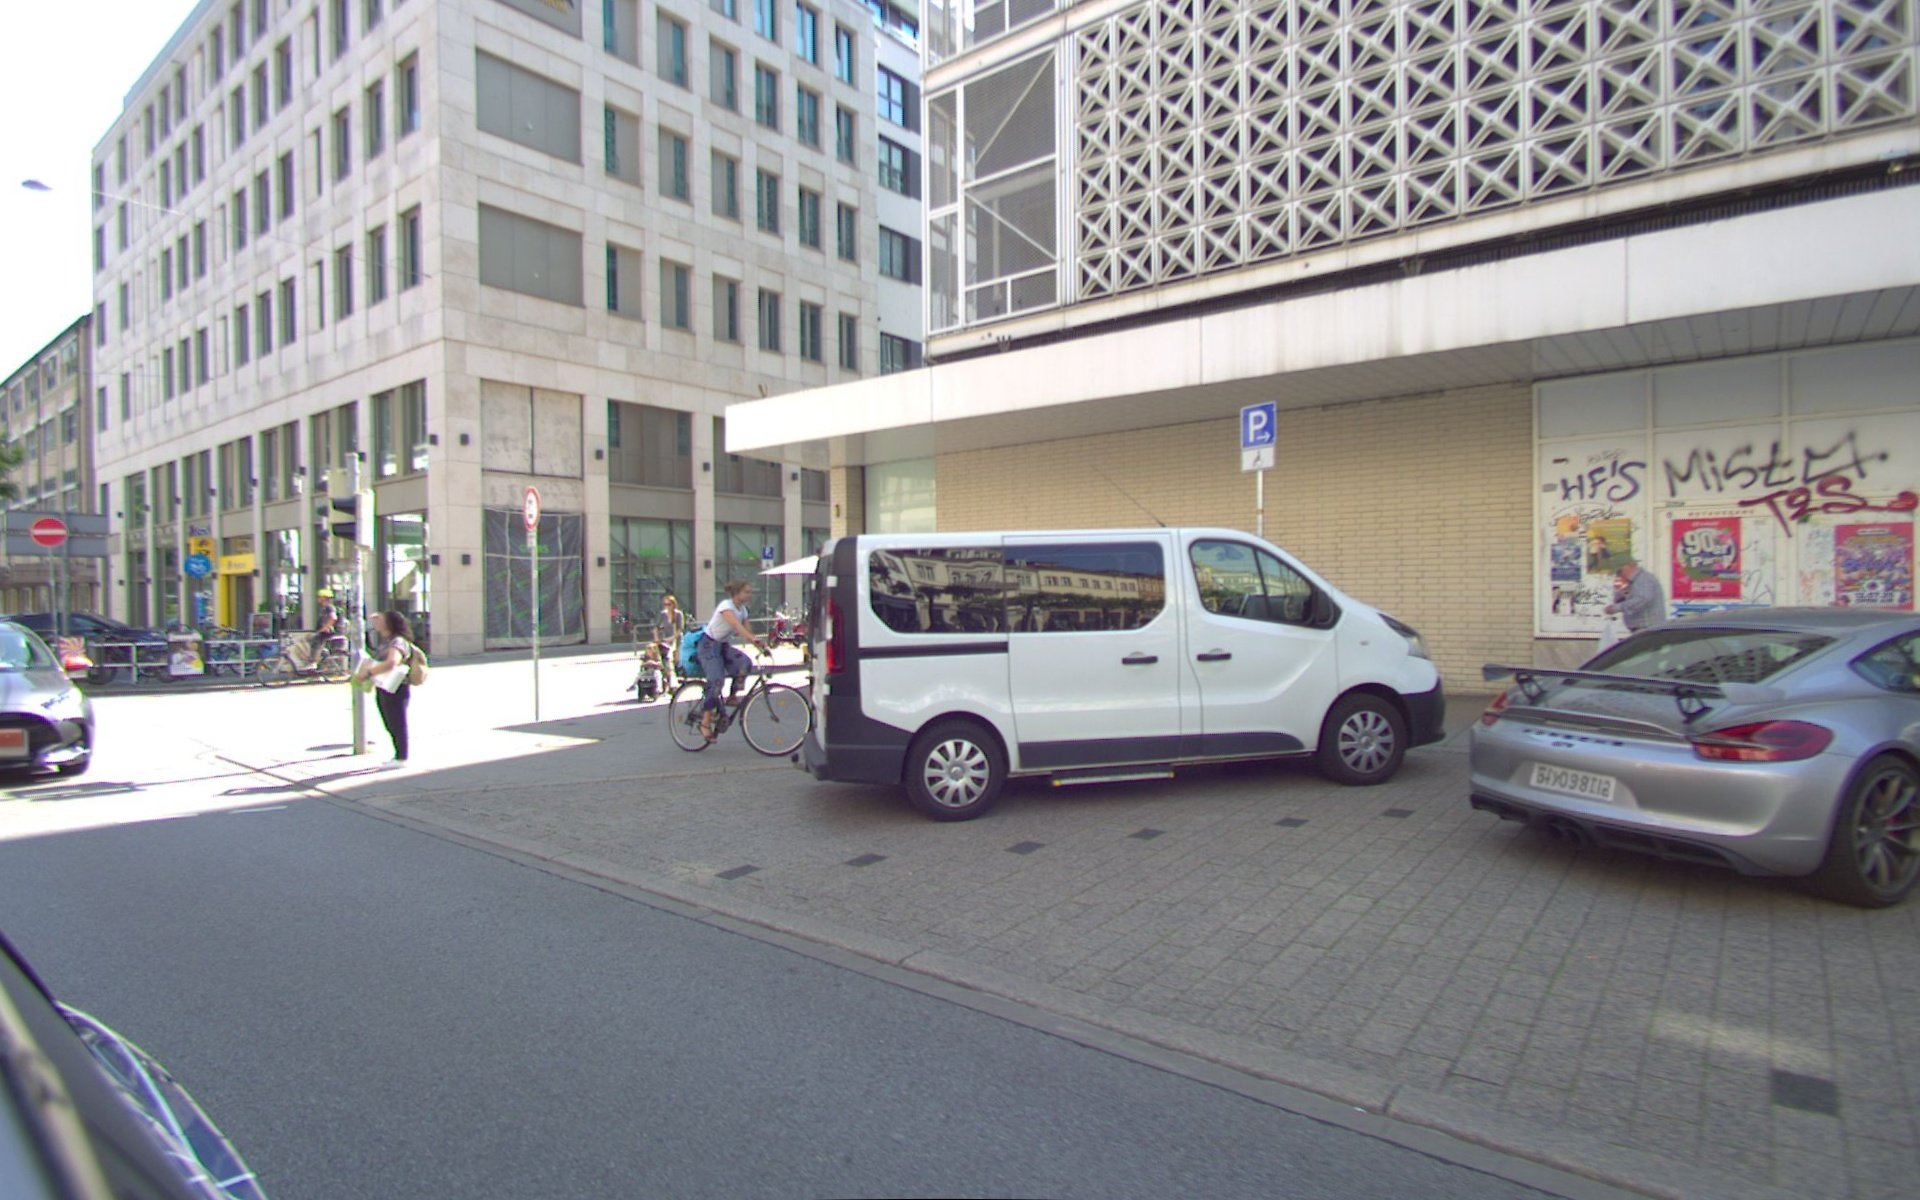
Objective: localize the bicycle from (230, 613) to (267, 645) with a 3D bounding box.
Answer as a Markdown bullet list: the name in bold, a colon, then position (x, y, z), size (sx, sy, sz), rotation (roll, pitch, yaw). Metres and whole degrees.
- **bicycle**: position (-26.237, 1.080, 37.312), size (2.159, 1.115, 0.491), rotation (-1, 2, 39)

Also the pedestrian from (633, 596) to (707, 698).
- **pedestrian**: position (-4.911, 0.780, 17.179), size (0.835, 1.671, 0.839), rotation (-2, 0, 20)

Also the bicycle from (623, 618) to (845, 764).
- **bicycle**: position (-2.238, 0.851, 9.912), size (2.204, 1.277, 0.728), rotation (-2, 0, 31)

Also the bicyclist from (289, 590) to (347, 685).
- **bicyclist**: position (-13.785, 0.789, 21.728), size (1.017, 1.974, 0.832), rotation (-1, 0, 45)

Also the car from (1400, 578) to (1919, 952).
- **car**: position (4.847, 0.603, 5.534), size (4.225, 1.296, 1.977), rotation (-3, 1, -20)

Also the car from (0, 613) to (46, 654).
- **car**: position (-40.476, 1.473, 41.616), size (1.818, 1.539, 3.950), rotation (1, 4, 38)

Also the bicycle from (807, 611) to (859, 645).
- **bicycle**: position (-4.370, 0.954, 35.039), size (0.454, 1.135, 2.038), rotation (-2, -1, 38)

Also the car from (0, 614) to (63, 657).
- **car**: position (-38.286, 1.528, 39.563), size (4.427, 1.443, 1.868), rotation (-7, 4, -31)

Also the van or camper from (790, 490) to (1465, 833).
- **van or camper**: position (1.108, 0.334, 7.749), size (4.584, 2.028, 2.005), rotation (-3, 1, -11)

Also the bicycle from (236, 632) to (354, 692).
- **bicycle**: position (-14.094, 1.287, 21.491), size (1.964, 1.135, 0.800), rotation (-1, -1, -44)

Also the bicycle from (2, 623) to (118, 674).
- **bicycle**: position (-22.809, 1.209, 25.679), size (0.484, 1.135, 2.119), rotation (-3, 1, 40)

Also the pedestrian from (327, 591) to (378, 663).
- **pedestrian**: position (-16.727, 0.722, 27.872), size (0.844, 1.892, 0.830), rotation (-1, 4, 39)

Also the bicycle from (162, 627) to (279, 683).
- **bicycle**: position (-16.419, 1.215, 22.505), size (2.030, 1.178, 0.607), rotation (0, 0, -14)

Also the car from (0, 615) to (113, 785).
- **car**: position (-10.073, 0.947, 10.103), size (4.104, 1.489, 1.844), rotation (-3, -3, 41)

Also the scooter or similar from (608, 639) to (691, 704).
- **scooter or similar**: position (-5.025, 1.145, 16.431), size (0.895, 0.972, 0.967), rotation (-1, 1, 18)

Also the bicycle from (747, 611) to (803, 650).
- **bicycle**: position (-6.021, 0.978, 33.006), size (0.454, 1.135, 2.039), rotation (2, 3, 37)

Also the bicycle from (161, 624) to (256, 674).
- **bicycle**: position (-19.236, 1.236, 25.944), size (1.835, 1.135, 0.486), rotation (-3, 0, -27)

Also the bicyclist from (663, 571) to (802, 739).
- **bicyclist**: position (-2.224, 0.515, 9.900), size (1.073, 1.550, 0.728), rotation (-2, 0, 31)

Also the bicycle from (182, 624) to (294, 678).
- **bicycle**: position (-16.901, 1.180, 23.731), size (2.029, 1.135, 0.649), rotation (-2, 0, -25)

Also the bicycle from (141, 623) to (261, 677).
- **bicycle**: position (-18.891, 1.227, 25.247), size (2.289, 1.135, 0.564), rotation (-3, 1, -26)

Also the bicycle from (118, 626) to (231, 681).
- **bicycle**: position (-18.885, 1.269, 24.383), size (2.029, 1.135, 0.564), rotation (-3, 0, -26)

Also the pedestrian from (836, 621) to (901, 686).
- **pedestrian**: position (-1.648, 0.949, 18.234), size (0.840, 1.065, 0.715), rotation (-1, 4, 37)

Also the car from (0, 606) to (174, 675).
- **car**: position (-24.874, 1.115, 28.493), size (3.965, 1.614, 1.965), rotation (-3, 3, -28)

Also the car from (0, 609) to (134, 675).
- **car**: position (-27.654, 1.276, 30.465), size (4.109, 1.648, 2.105), rotation (-6, 4, -43)

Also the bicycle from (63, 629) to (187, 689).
- **bicycle**: position (-17.769, 1.243, 21.565), size (2.032, 1.182, 0.606), rotation (-1, 1, -6)

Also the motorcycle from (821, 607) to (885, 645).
- **motorcycle**: position (-3.598, 0.870, 34.141), size (2.038, 1.182, 0.653), rotation (-2, -1, 4)

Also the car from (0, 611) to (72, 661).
- **car**: position (-35.663, 1.439, 37.237), size (3.970, 1.604, 1.825), rotation (-6, 4, -18)

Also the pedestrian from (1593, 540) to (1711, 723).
- **pedestrian**: position (6.545, 0.281, 9.573), size (0.862, 1.648, 0.582), rotation (-1, 1, 38)

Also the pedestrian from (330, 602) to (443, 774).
- **pedestrian**: position (-5.547, 0.826, 9.798), size (0.677, 1.571, 0.635), rotation (-2, 1, 27)

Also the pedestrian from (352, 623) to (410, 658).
- **pedestrian**: position (-16.666, 1.157, 29.138), size (0.840, 0.932, 1.238), rotation (-1, 0, 37)

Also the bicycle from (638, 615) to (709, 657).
- **bicycle**: position (-8.445, 1.038, 29.914), size (0.639, 1.135, 2.037), rotation (3, 2, 39)

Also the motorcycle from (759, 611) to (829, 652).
- **motorcycle**: position (-5.178, 0.980, 31.542), size (2.043, 1.182, 0.654), rotation (-3, -3, 13)
